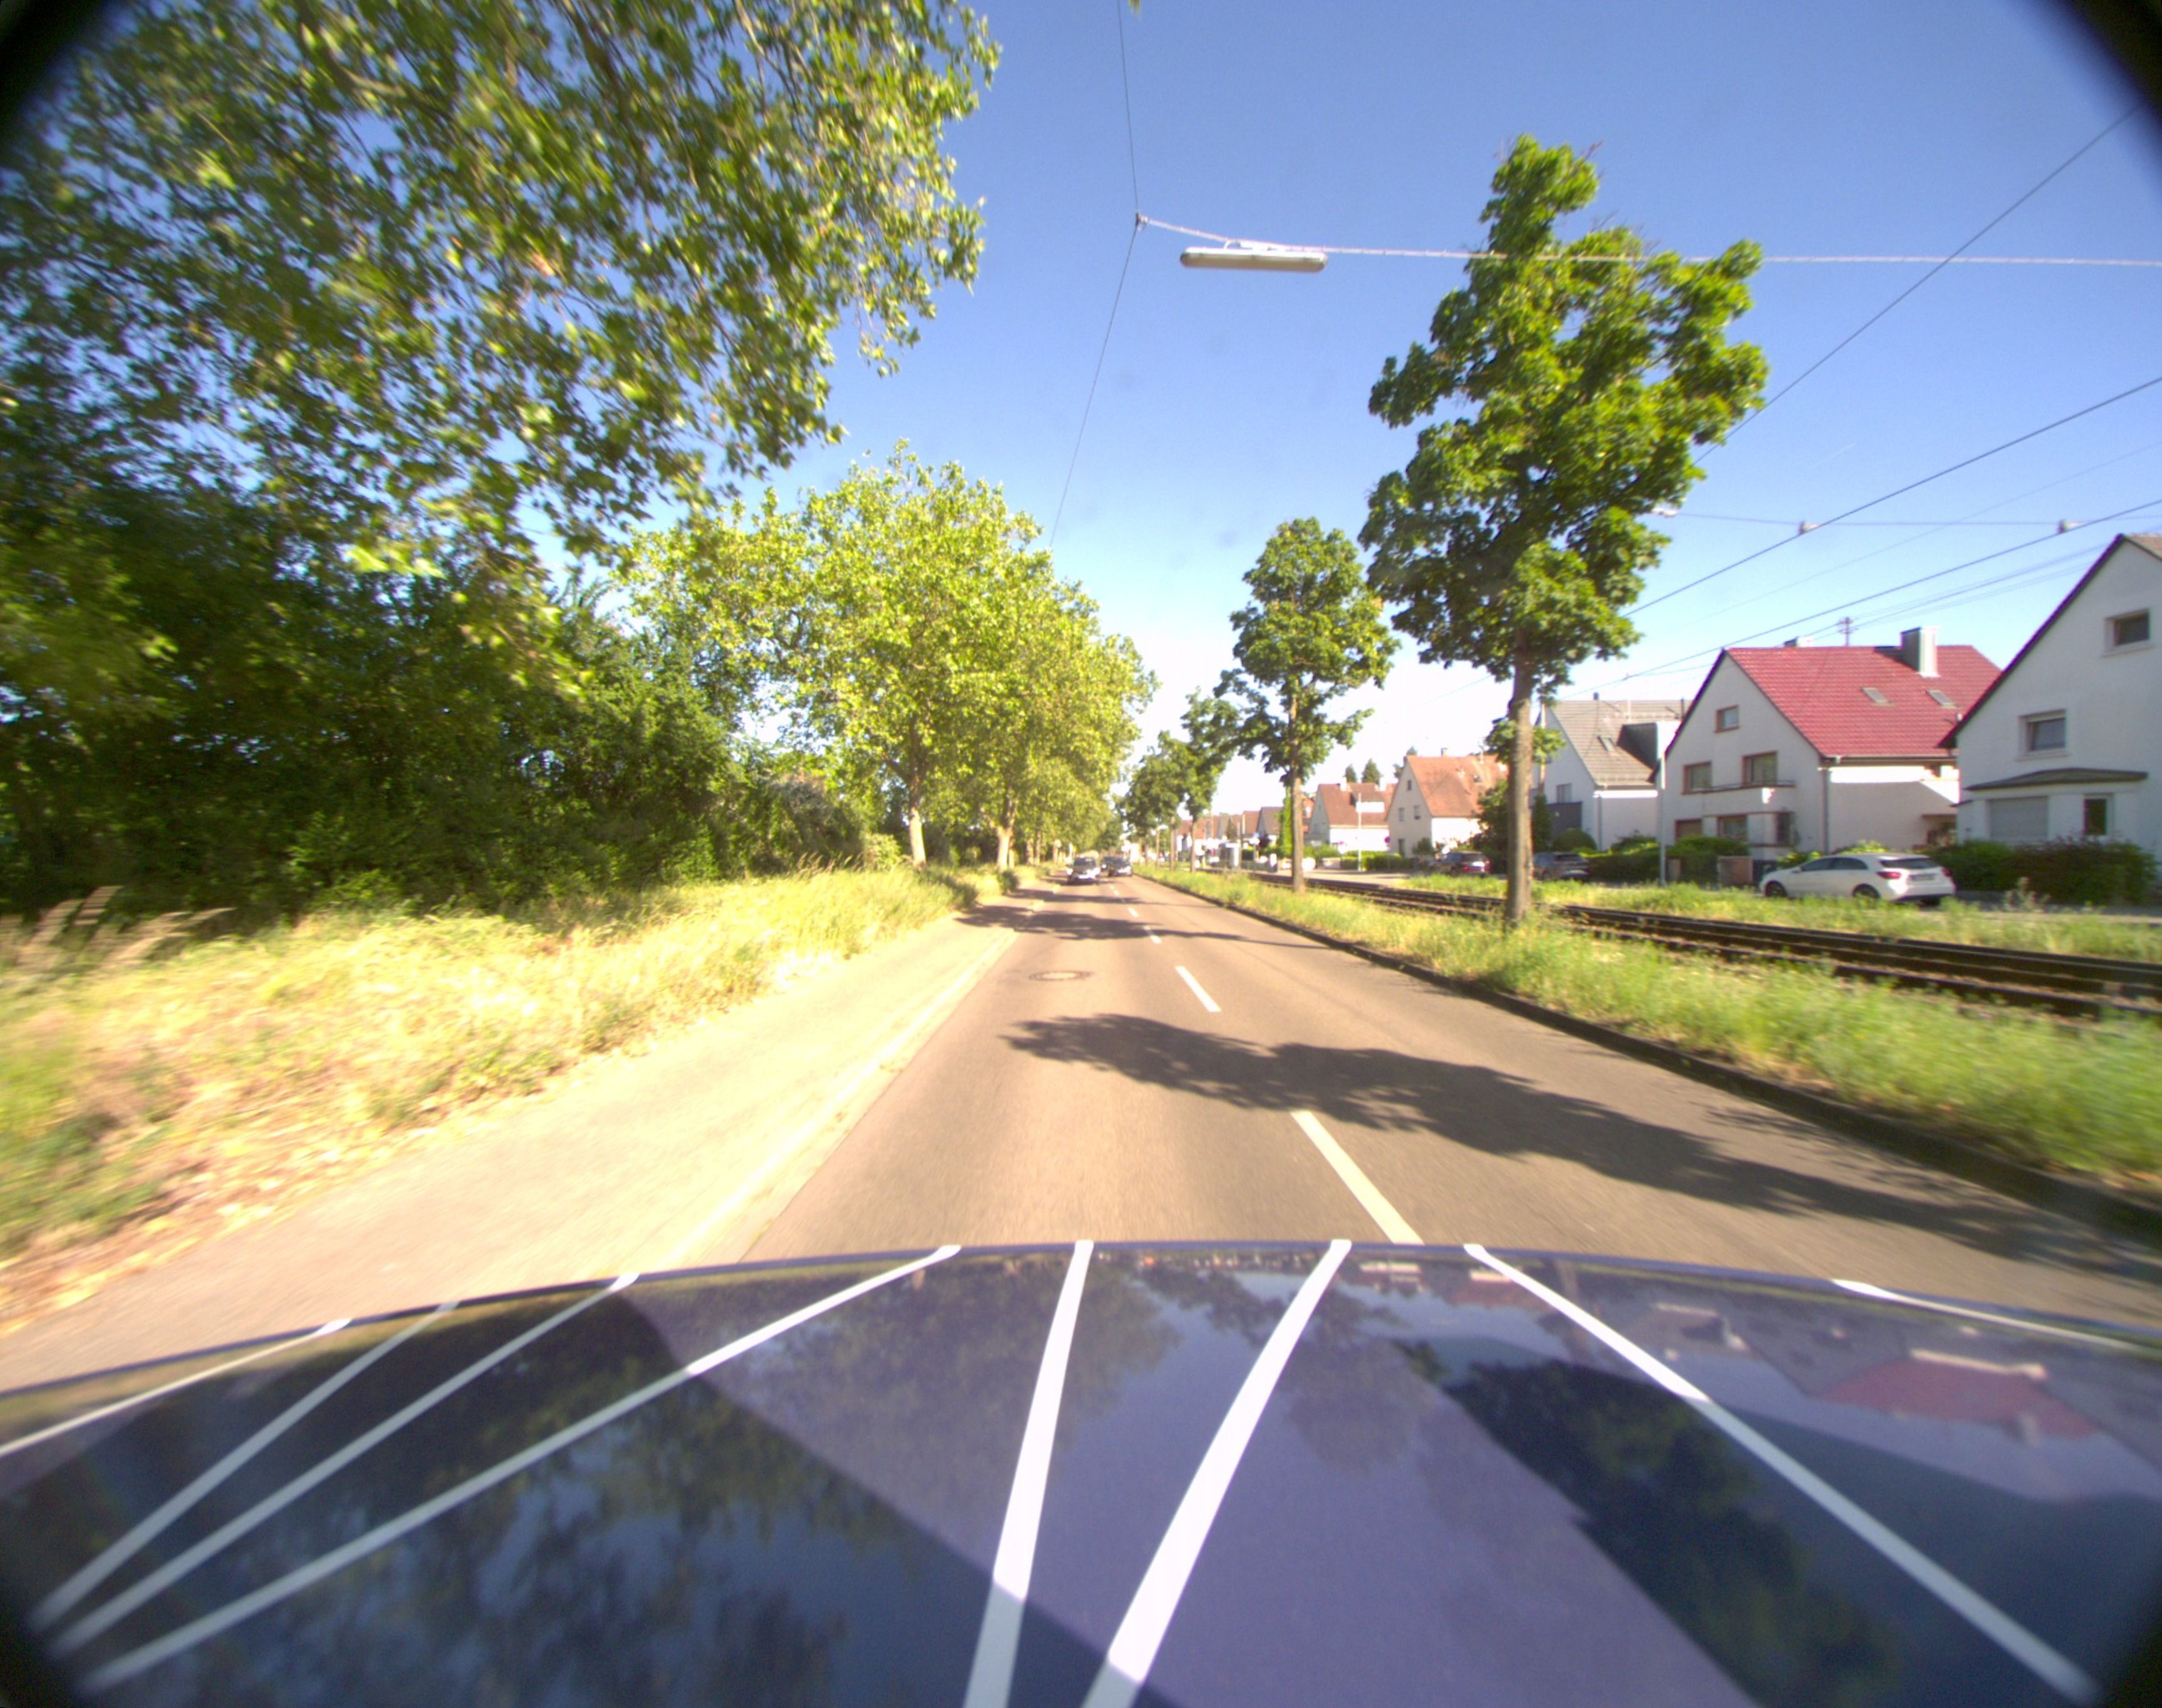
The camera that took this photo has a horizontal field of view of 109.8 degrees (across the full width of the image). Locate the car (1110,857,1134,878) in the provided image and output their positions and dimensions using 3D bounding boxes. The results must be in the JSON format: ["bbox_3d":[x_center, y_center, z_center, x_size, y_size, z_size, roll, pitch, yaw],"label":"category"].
[{"bbox_3d":[3.169,1.012,58.817,1.692,1.499,3.582,-2,0,1],"label":"car"}]

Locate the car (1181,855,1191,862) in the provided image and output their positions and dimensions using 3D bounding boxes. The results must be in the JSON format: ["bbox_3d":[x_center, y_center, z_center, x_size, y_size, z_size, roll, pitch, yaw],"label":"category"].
[{"bbox_3d":[23.830,1.038,172.765,1.738,1.481,3.756,-2,0,1],"label":"car"}]

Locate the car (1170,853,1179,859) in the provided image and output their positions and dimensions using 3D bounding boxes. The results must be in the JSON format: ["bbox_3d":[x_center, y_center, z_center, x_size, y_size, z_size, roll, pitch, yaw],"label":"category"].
[{"bbox_3d":[23.274,0.436,189.570,1.756,1.373,3.823,-2,0,1],"label":"car"}]

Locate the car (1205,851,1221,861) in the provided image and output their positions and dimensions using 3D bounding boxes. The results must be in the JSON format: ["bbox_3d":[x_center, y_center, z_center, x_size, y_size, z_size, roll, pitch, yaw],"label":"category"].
[{"bbox_3d":[23.291,0.370,133.775,1.998,1.668,4.839,-2,0,1],"label":"car"}]

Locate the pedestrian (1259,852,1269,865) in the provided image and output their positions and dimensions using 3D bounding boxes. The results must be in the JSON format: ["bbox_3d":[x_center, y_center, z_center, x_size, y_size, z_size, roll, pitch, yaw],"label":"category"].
[{"bbox_3d":[21.939,0.539,91.125,0.814,1.525,0.793,0,-1,-23],"label":"pedestrian"}]

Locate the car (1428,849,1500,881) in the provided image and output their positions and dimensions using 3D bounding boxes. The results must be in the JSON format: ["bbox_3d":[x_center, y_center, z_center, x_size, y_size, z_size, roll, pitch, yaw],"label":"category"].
[{"bbox_3d":[22.140,0.602,44.169,1.998,1.703,4.390,-2,0,1],"label":"car"}]

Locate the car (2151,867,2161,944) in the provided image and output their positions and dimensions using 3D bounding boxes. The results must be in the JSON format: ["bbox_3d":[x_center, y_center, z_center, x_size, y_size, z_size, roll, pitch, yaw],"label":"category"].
[{"bbox_3d":[21.381,0.925,12.406,1.998,1.441,4.127,-4,0,1],"label":"car"}]

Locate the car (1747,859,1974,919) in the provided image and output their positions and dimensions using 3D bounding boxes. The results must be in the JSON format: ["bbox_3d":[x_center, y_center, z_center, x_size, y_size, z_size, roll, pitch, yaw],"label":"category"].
[{"bbox_3d":[21.667,0.906,21.441,1.998,1.418,4.410,-1,0,2],"label":"car"}]

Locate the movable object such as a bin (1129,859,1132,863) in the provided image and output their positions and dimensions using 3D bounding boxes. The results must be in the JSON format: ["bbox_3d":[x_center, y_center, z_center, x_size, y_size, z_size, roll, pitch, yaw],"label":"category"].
[{"bbox_3d":[6.624,0.943,102.188,0.387,0.579,0.379,-1,1,9],"label":"movable object such as a bin"}]

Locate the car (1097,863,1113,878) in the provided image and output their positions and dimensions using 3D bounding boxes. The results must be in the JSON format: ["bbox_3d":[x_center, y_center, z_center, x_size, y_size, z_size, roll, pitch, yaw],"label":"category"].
[{"bbox_3d":[2.578,1.726,82.018,1.692,1.499,3.582,-2,0,1],"label":"car"}]

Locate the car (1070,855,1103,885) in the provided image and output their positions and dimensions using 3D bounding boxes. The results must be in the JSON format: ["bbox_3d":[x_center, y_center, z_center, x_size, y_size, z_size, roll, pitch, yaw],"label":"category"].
[{"bbox_3d":[0.318,0.881,42.835,1.692,1.499,3.582,-3,0,1],"label":"car"}]

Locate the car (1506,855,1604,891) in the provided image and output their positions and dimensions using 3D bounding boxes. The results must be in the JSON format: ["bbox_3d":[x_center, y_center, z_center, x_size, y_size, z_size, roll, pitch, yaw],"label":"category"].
[{"bbox_3d":[21.941,0.850,35.420,1.931,1.486,4.256,-2,0,1],"label":"car"}]

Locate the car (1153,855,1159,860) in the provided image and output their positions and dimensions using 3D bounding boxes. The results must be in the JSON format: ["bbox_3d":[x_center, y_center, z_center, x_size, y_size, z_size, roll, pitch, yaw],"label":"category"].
[{"bbox_3d":[23.887,1.040,241.385,1.791,1.497,4.001,-1,0,4],"label":"car"}]
